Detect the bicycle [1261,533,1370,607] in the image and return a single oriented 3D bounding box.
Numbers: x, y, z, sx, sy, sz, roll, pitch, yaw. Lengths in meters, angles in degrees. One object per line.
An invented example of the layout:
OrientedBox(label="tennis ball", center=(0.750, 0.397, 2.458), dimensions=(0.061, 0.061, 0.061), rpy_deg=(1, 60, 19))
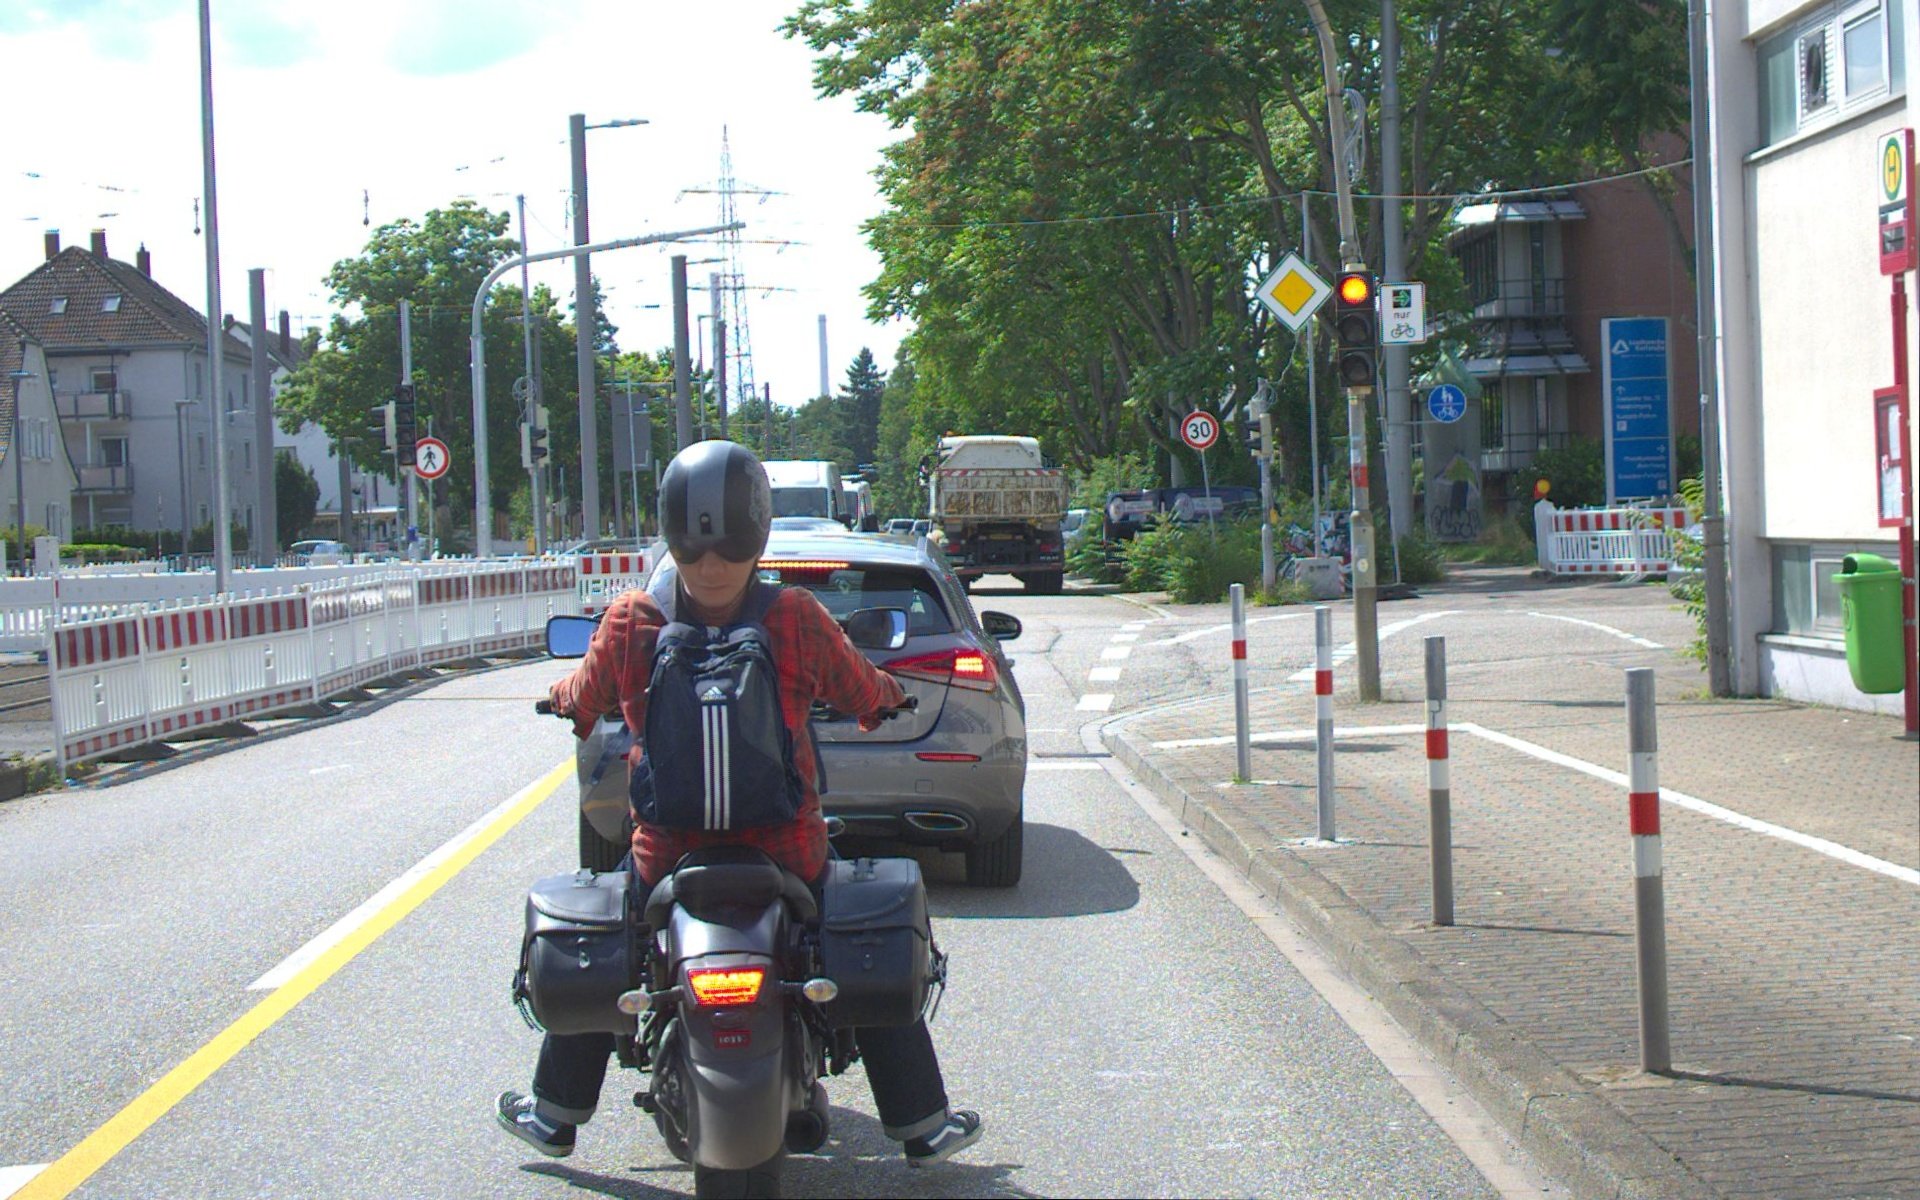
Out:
OrientedBox(label="bicycle", center=(5.657, -0.474, 54.790), dimensions=(1.708, 1.168, 0.438), rpy_deg=(0, 1, 5))

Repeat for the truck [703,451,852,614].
OrientedBox(label="truck", center=(-2.979, -1.188, 57.245), dimensions=(2.093, 2.468, 5.197), rpy_deg=(-3, 3, 0))

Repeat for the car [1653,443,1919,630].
OrientedBox(label="car", center=(9.273, -0.674, 33.677), dimensions=(4.705, 1.706, 1.907), rpy_deg=(-2, 2, 7))

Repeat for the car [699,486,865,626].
OrientedBox(label="car", center=(-2.003, -0.543, 39.689), dimensions=(1.645, 1.493, 4.269), rpy_deg=(-1, 2, 0))

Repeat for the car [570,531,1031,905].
OrientedBox(label="car", center=(-0.794, 0.410, 15.040), dimensions=(1.731, 1.399, 4.087), rpy_deg=(0, 1, -5))

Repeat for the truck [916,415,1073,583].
OrientedBox(label="truck", center=(0.763, -1.961, 68.773), dimensions=(2.967, 3.162, 7.764), rpy_deg=(0, 1, 2))

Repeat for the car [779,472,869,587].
OrientedBox(label="car", center=(-2.558, -1.325, 65.285), dimensions=(1.589, 2.135, 3.627), rpy_deg=(0, 1, 0))

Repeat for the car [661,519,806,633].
OrientedBox(label="car", center=(-3.094, -0.343, 47.579), dimensions=(1.744, 1.432, 4.084), rpy_deg=(-3, 1, -1))

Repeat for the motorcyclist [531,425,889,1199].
OrientedBox(label="motorcyclist", center=(-0.497, 0.454, 7.086), dimensions=(0.698, 1.599, 0.692), rpy_deg=(0, 1, -1))

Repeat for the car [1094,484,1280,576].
OrientedBox(label="car", center=(4.875, -1.474, 73.631), dimensions=(1.802, 1.919, 3.990), rpy_deg=(1, 1, 45))

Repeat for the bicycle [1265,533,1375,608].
OrientedBox(label="bicycle", center=(5.657, -0.464, 54.063), dimensions=(1.708, 1.168, 0.438), rpy_deg=(0, 1, 5))

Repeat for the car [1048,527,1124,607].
OrientedBox(label="car", center=(3.207, -0.855, 87.876), dimensions=(1.757, 2.007, 4.000), rpy_deg=(0, 1, 0))

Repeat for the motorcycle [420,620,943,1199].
OrientedBox(label="motorcycle", center=(-0.525, 0.682, 7.459), dimensions=(0.942, 1.196, 2.473), rpy_deg=(0, 1, -1))

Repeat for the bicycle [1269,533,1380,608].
OrientedBox(label="bicycle", center=(5.667, -0.458, 53.552), dimensions=(1.708, 1.168, 0.438), rpy_deg=(0, 1, 5))
